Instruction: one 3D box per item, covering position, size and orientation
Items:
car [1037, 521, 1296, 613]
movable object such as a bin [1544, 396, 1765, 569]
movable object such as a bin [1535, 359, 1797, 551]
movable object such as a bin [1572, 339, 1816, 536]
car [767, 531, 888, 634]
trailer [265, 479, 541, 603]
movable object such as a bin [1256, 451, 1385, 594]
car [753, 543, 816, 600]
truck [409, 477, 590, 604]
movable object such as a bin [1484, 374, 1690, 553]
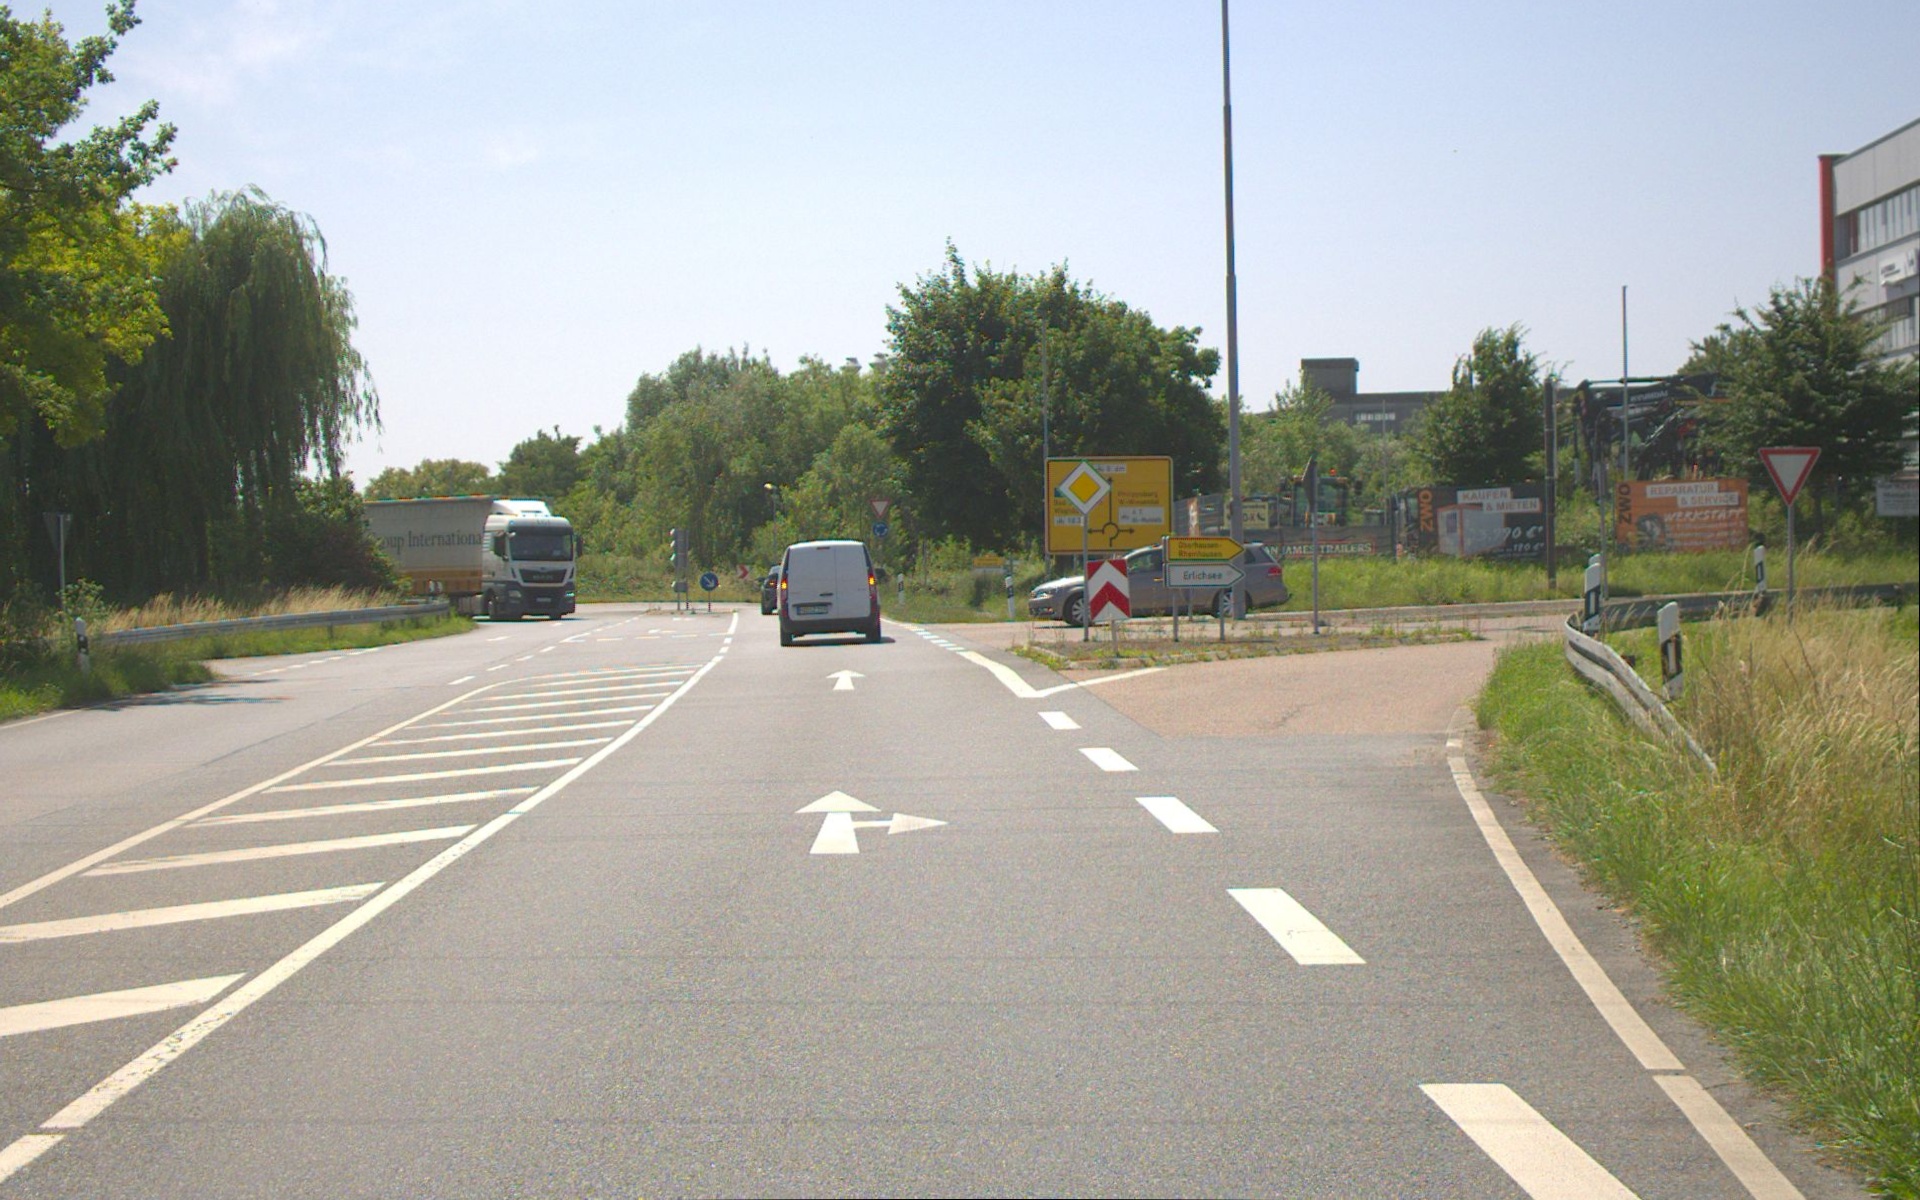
[{"bbox_3d":[3.746,-0.611,62.771,4.511,1.503,1.915,-2,1,-2],"label":"car"},{"bbox_3d":[17.762,-2.978,88.124,5.085,4.260,2.834,0,-1,0],"label":"movable object such as a bin"},{"bbox_3d":[19.769,-4.020,96.595,6.591,5.130,3.806,0,-1,0],"label":"movable object such as a bin"},{"bbox_3d":[19.734,-4.333,92.693,5.918,5.088,3.108,0,-1,0],"label":"movable object such as a bin"},{"bbox_3d":[-2.362,-0.309,60.285,1.903,1.726,3.823,-1,0,-5],"label":"car"},{"bbox_3d":[-19.253,-2.052,117.708,2.791,4.042,13.497,0,1,-40],"label":"trailer"},{"bbox_3d":[8.698,-1.826,83.317,2.322,3.239,5.102,0,-1,-3],"label":"movable object such as a bin"},{"bbox_3d":[-5.284,-0.868,103.388,1.805,1.550,4.001,-1,2,-3],"label":"car"},{"bbox_3d":[-15.157,-1.958,112.751,2.791,4.042,6.752,0,1,-39],"label":"truck"},{"bbox_3d":[19.204,-4.151,105.542,5.716,5.251,3.221,0,-1,0],"label":"movable object such as a bin"}]
